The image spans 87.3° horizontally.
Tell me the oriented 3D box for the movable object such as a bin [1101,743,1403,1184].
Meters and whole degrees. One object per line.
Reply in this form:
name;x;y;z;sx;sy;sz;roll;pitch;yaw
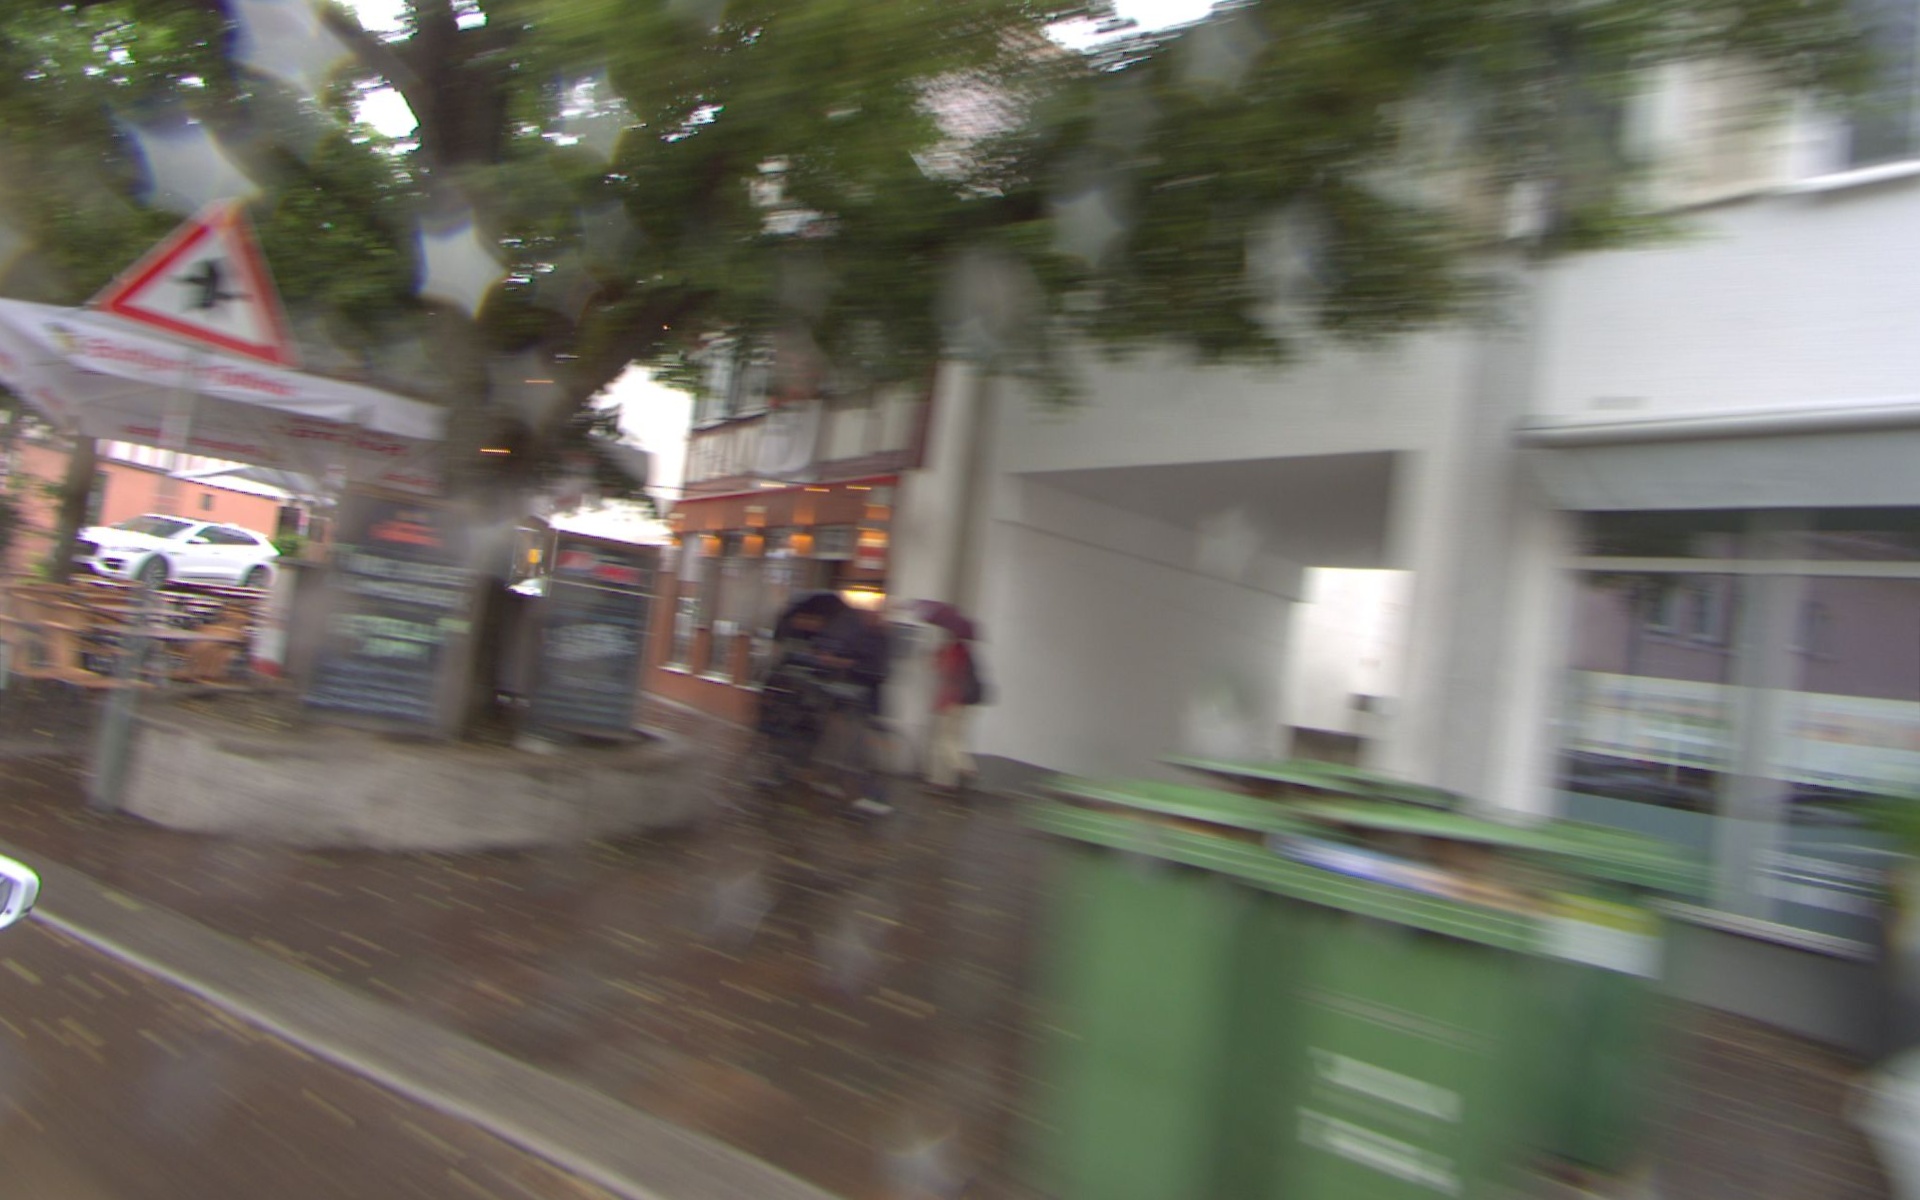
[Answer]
movable object such as a bin;0.978;1.119;3.359;0.716;1.156;0.538;7;-1;33

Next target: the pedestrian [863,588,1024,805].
pedestrian;-0.137;0.833;8.804;0.876;1.732;0.885;4;-4;37

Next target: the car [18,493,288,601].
car;-17.684;-1.061;22.422;1.963;1.651;4.620;9;-2;2

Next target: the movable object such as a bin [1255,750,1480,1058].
movable object such as a bin;1.810;1.283;4.462;0.716;1.096;0.538;7;0;33

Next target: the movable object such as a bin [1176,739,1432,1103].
movable object such as a bin;1.352;1.181;3.940;0.716;1.144;0.538;7;0;33

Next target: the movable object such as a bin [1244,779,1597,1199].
movable object such as a bin;1.087;1.046;2.422;0.600;1.104;0.728;5;-4;26

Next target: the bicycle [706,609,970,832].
bicycle;-1.027;0.861;7.848;0.920;1.366;2.193;7;-1;-38

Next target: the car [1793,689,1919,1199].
car;3.511;1.134;1.013;3.889;1.573;1.789;6;-2;36

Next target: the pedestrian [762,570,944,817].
pedestrian;-0.816;0.693;7.638;0.906;1.718;0.853;7;-2;-39

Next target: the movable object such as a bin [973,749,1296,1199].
movable object such as a bin;0.516;1.003;2.766;0.594;1.095;0.728;5;-4;26

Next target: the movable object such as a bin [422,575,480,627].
movable object such as a bin;-12.505;0.036;24.740;0.841;1.123;0.880;6;-3;2
